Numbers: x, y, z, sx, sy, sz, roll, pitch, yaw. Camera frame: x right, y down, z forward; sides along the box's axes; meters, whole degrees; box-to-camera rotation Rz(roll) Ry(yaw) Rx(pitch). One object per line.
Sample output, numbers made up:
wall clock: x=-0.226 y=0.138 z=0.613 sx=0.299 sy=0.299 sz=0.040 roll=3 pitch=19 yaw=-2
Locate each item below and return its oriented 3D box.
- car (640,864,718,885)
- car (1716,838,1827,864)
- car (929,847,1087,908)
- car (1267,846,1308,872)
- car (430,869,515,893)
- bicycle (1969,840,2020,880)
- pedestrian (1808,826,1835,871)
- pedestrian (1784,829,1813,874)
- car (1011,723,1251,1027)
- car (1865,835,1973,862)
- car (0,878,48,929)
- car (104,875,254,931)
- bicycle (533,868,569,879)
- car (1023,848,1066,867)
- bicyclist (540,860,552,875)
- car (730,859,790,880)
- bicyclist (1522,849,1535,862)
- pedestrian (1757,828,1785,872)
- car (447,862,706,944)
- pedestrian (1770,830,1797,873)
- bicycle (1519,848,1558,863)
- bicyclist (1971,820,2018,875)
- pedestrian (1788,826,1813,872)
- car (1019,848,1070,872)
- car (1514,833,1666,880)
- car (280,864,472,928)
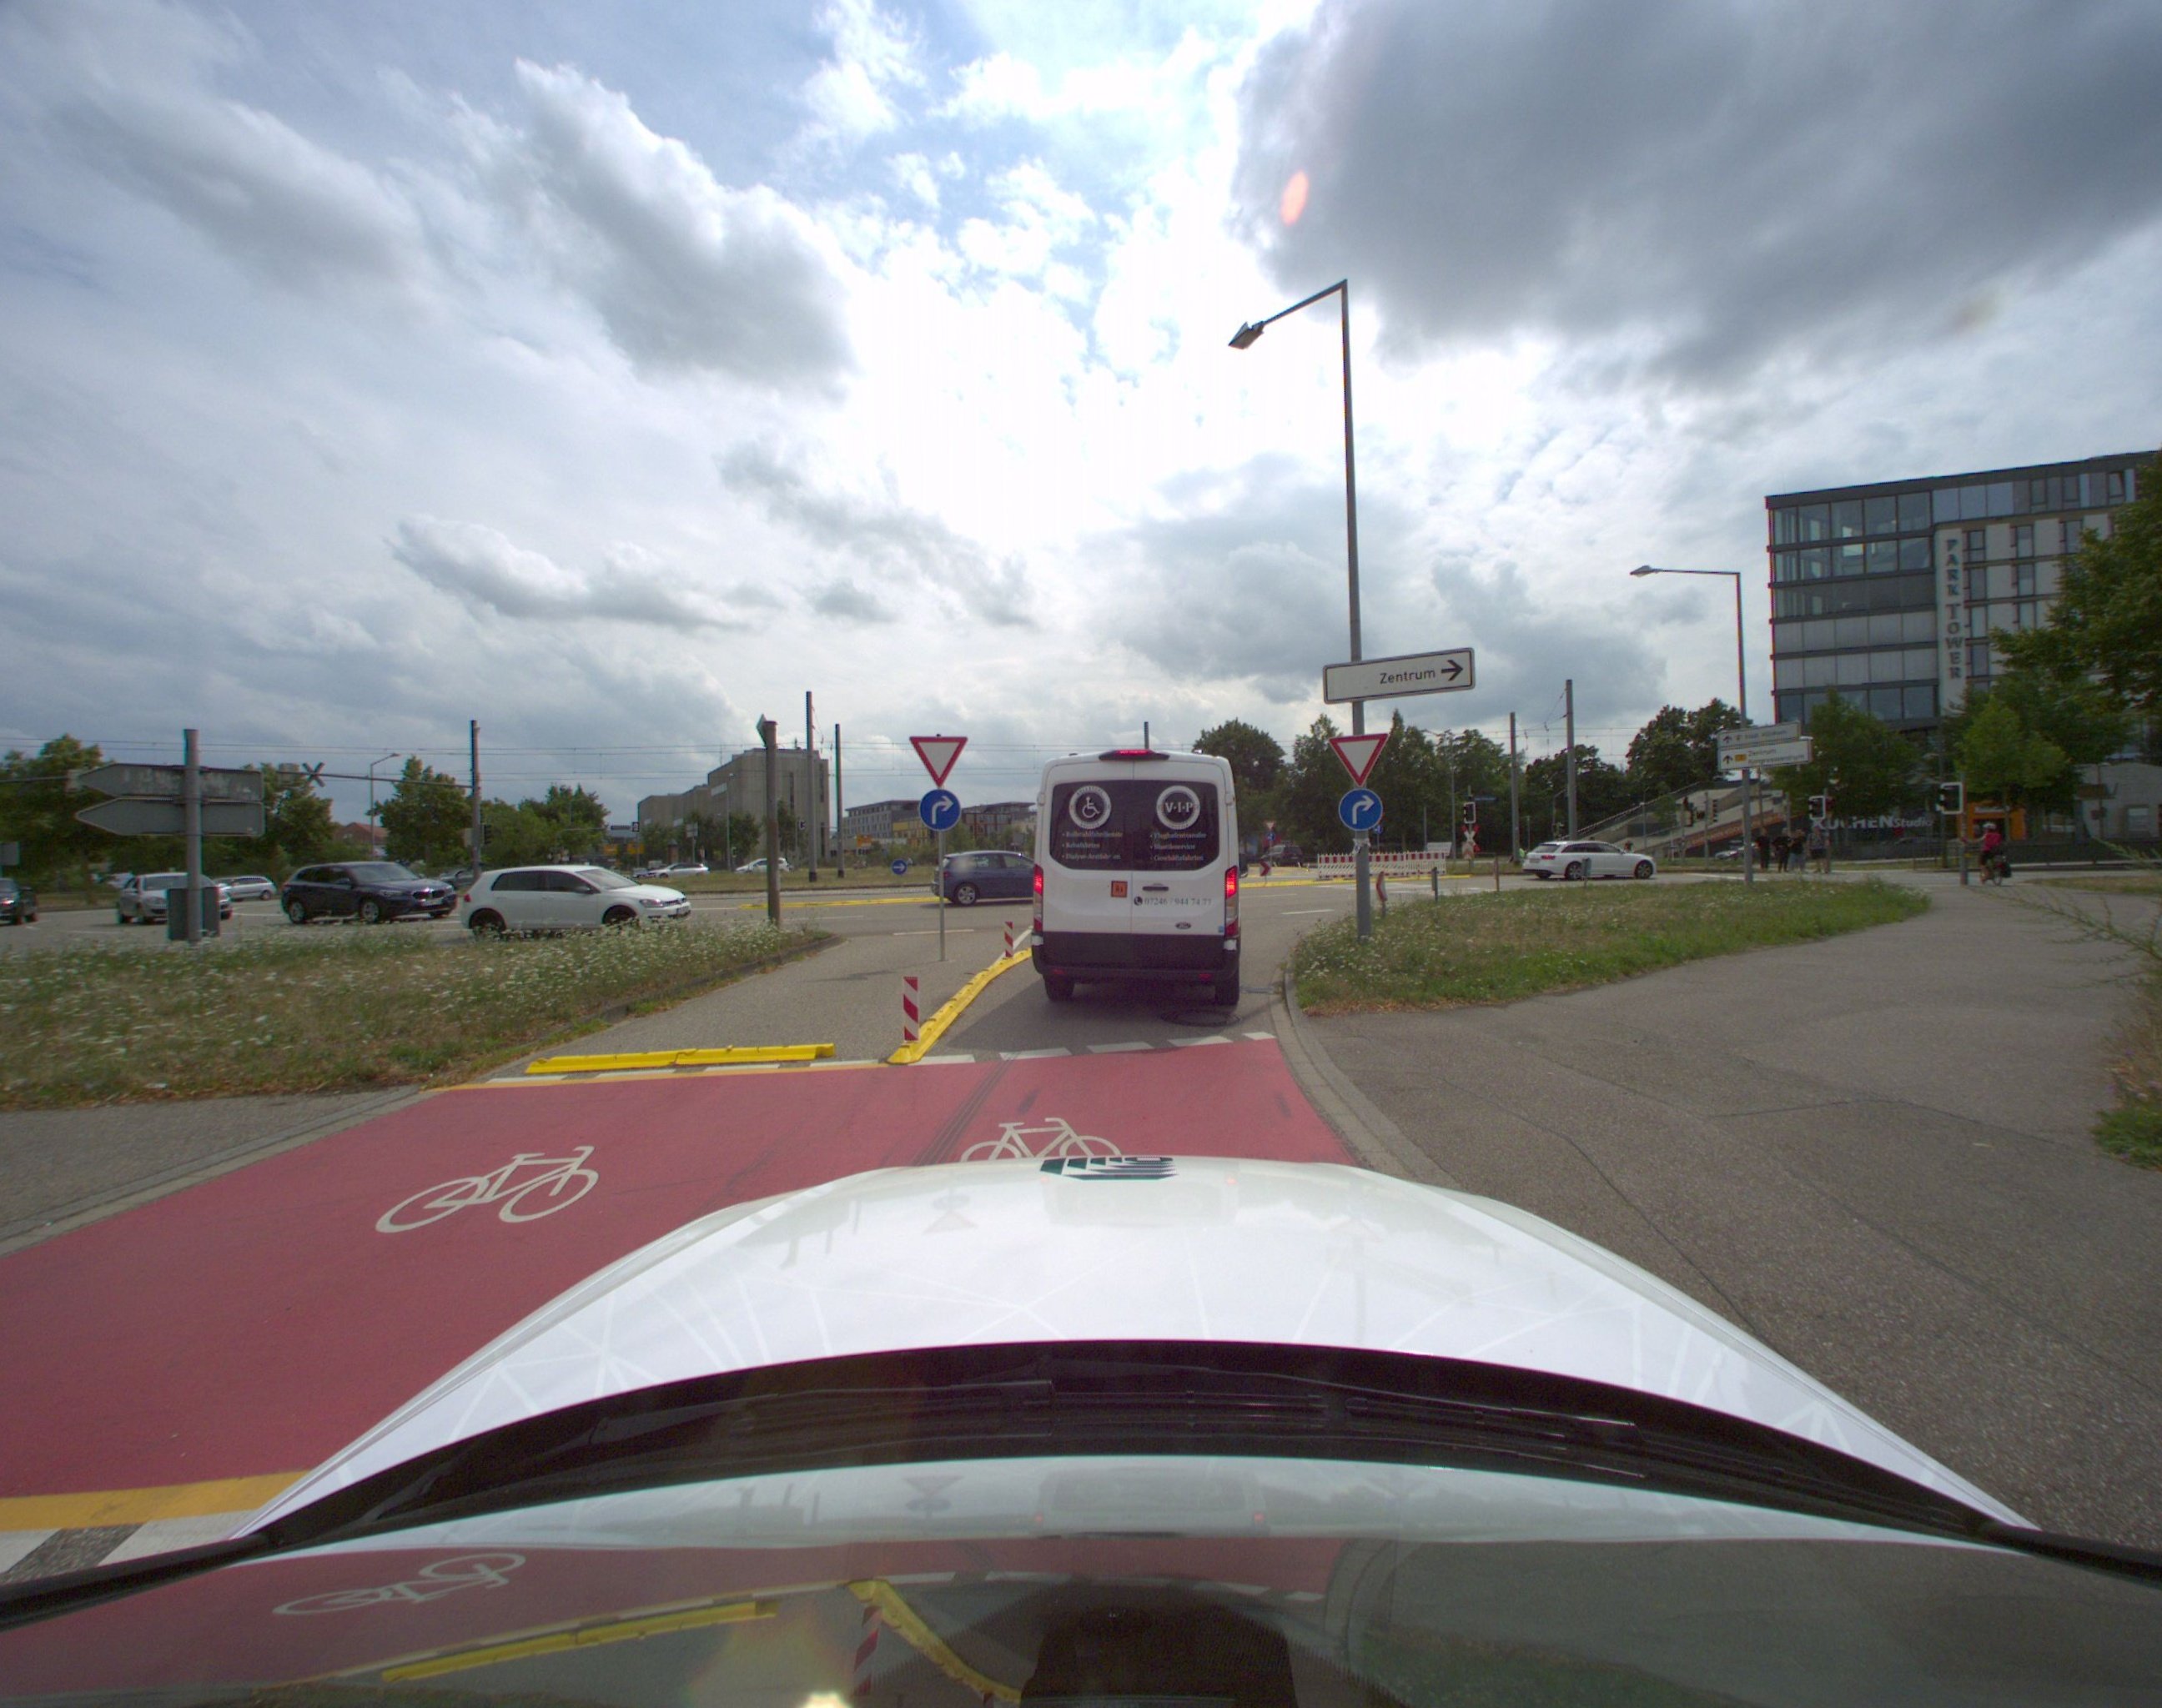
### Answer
car: x=-32.164 y=1.606 z=65.281 sx=5.213 sy=1.482 sz=1.976 roll=-1 pitch=0 yaw=-43
car: x=40.930 y=-0.172 z=48.408 sx=4.687 sy=1.458 sz=1.856 roll=-1 pitch=0 yaw=15
car: x=-2.072 y=0.613 z=22.866 sx=4.114 sy=1.497 sz=1.791 roll=-1 pitch=0 yaw=-18
car: x=15.105 y=0.405 z=59.712 sx=1.986 sy=1.750 sz=4.000 roll=-2 pitch=-2 yaw=1
car: x=-44.429 y=1.946 z=59.533 sx=2.039 sy=1.551 sz=4.501 roll=-2 pitch=0 yaw=26
bicycle: x=27.719 y=0.171 z=24.739 sx=0.781 sy=1.168 sz=2.054 roll=-2 pitch=-1 yaw=42
pedestrian: x=29.971 y=-0.211 z=32.969 sx=0.575 sy=1.781 sz=0.554 roll=-1 pitch=0 yaw=8
pedestrian: x=29.220 y=-0.106 z=33.174 sx=0.684 sy=1.781 sz=0.554 roll=-1 pitch=0 yaw=8
car: x=0.871 y=0.215 z=10.161 sx=2.114 sy=2.697 sz=5.646 roll=-1 pitch=0 yaw=9
car: x=48.568 y=-0.338 z=47.304 sx=3.957 sy=1.458 sz=1.856 roll=-1 pitch=0 yaw=16
car: x=-34.869 y=1.573 z=25.622 sx=4.097 sy=1.519 sz=1.750 roll=-2 pitch=0 yaw=21
car: x=-26.442 y=1.400 z=23.869 sx=4.207 sy=1.462 sz=1.841 roll=-1 pitch=0 yaw=26
bicycle: x=-49.865 y=1.835 z=76.626 sx=0.853 sy=0.855 sz=2.676 roll=-2 pitch=0 yaw=37
car: x=-4.003 y=0.378 z=88.088 sx=4.355 sy=2.014 sz=1.990 roll=0 pitch=-2 yaw=-15
bicyclist: x=-50.143 y=1.277 z=76.299 sx=0.853 sy=1.409 sz=0.678 roll=-2 pitch=0 yaw=38
car: x=-27.357 y=1.300 z=69.538 sx=4.380 sy=1.666 sz=1.915 roll=-1 pitch=0 yaw=-43
bicyclist: x=29.859 y=0.119 z=54.378 sx=0.650 sy=0.884 sz=0.611 roll=-2 pitch=-2 yaw=40
pedestrian: x=28.588 y=-0.174 z=33.750 sx=0.684 sy=1.781 sz=0.554 roll=-1 pitch=0 yaw=8
car: x=-10.415 y=0.982 z=17.049 sx=4.233 sy=1.497 sz=1.801 roll=-1 pitch=0 yaw=-1
pedestrian: x=29.148 y=-0.111 z=33.775 sx=0.627 sy=1.781 sz=0.554 roll=-1 pitch=0 yaw=8
bicycle: x=30.328 y=0.093 z=53.969 sx=2.176 sy=0.938 sz=0.618 roll=-2 pitch=-2 yaw=41
bicyclist: x=27.659 y=-0.190 z=24.676 sx=0.781 sy=1.627 sz=1.055 roll=-2 pitch=-1 yaw=42
pedestrian: x=29.796 y=-0.199 z=33.740 sx=0.526 sy=1.862 sz=0.554 roll=-1 pitch=0 yaw=8
car: x=-3.185 y=0.547 z=71.771 sx=3.952 sy=2.014 sz=2.010 roll=-1 pitch=-2 yaw=21
car: x=19.403 y=0.079 z=31.151 sx=4.732 sy=1.618 sz=1.995 roll=-1 pitch=0 yaw=-7
car: x=-18.514 y=1.088 z=21.411 sx=4.323 sy=1.534 sz=1.740 roll=-1 pitch=0 yaw=17
